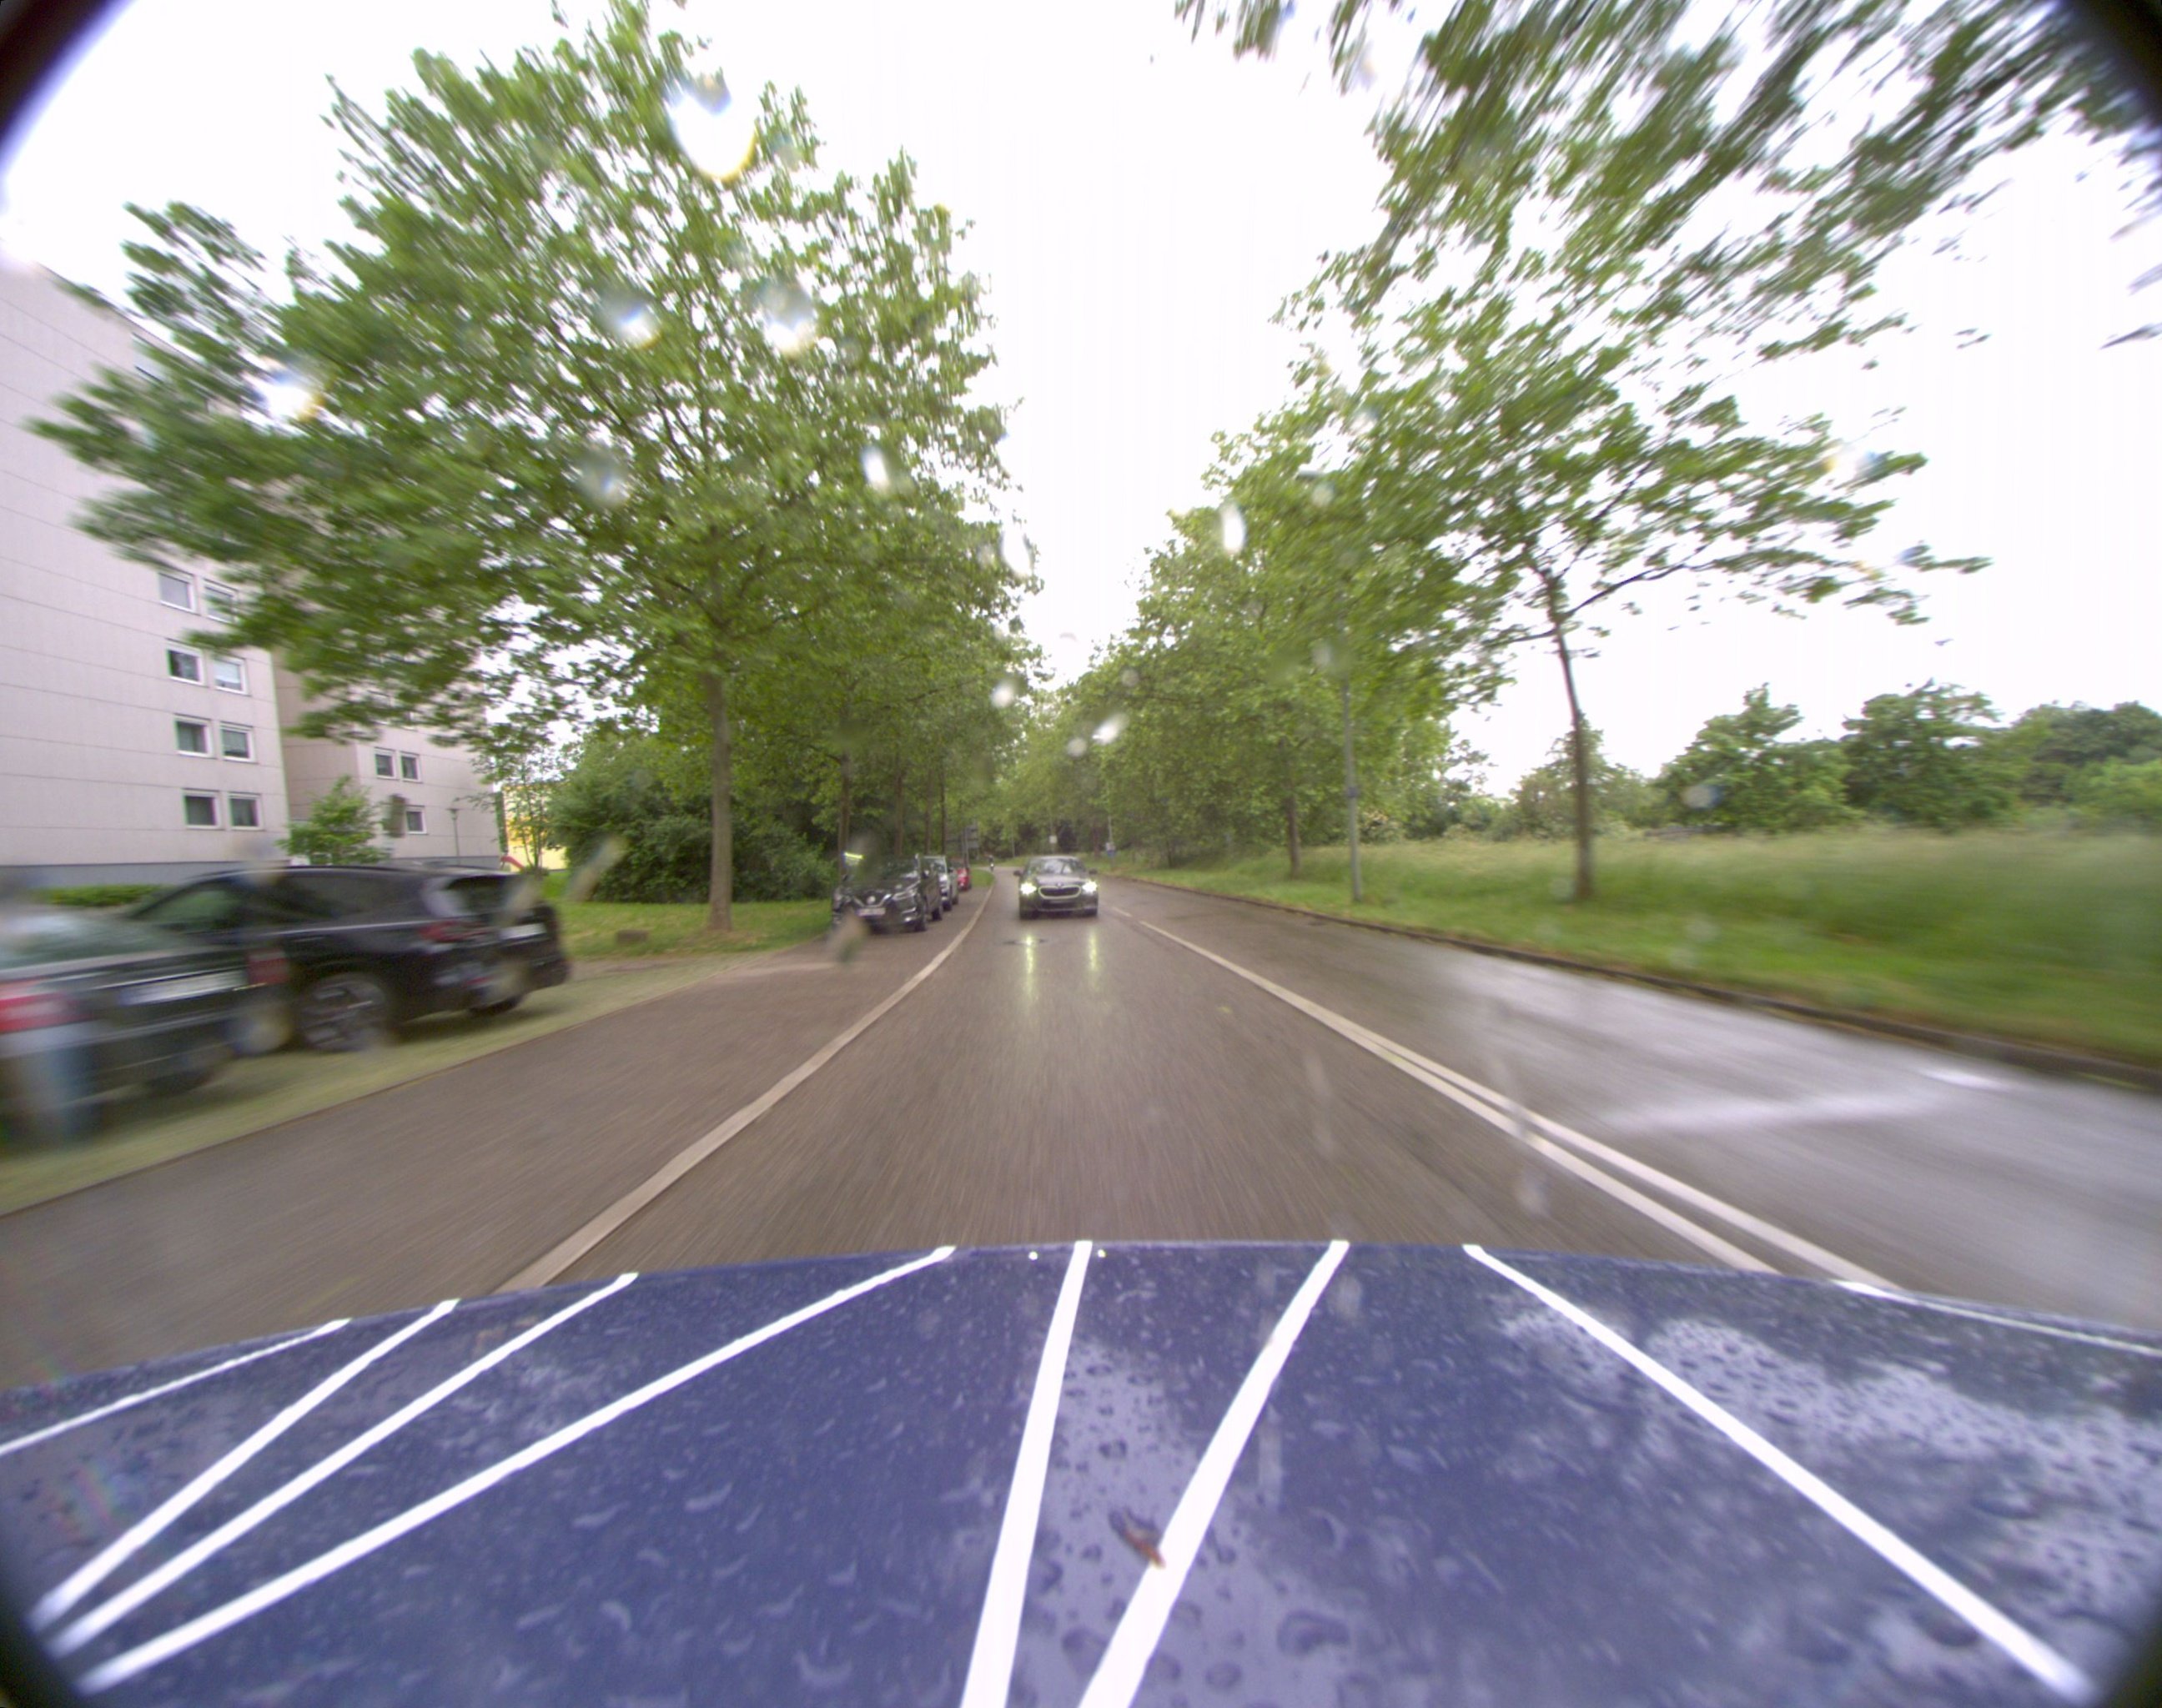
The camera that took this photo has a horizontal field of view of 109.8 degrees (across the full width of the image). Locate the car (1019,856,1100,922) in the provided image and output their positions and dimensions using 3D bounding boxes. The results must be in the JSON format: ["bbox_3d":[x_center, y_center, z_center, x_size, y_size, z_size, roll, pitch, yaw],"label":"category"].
[{"bbox_3d":[-0.676,0.819,19.776,1.844,1.486,4.900,-1,0,-4],"label":"car"}]

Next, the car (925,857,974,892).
[{"bbox_3d":[-5.776,0.855,33.760,1.802,1.364,3.742,-2,1,-5],"label":"car"}]

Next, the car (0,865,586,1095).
[{"bbox_3d":[-7.603,1.077,7.220,4.483,1.670,1.767,-3,0,-3],"label":"car"}]

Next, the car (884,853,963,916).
[{"bbox_3d":[-4.547,0.816,22.473,1.733,1.582,4.250,-2,1,-5],"label":"car"}]

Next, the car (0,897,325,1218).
[{"bbox_3d":[-7.556,1.192,4.536,4.117,1.470,1.720,-3,2,-3],"label":"car"}]

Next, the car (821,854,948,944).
[{"bbox_3d":[-4.087,0.848,16.527,1.806,1.593,4.369,-2,1,-4],"label":"car"}]

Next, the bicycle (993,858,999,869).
[{"bbox_3d":[-9.054,0.967,80.881,0.454,1.128,1.831,-5,1,-11],"label":"bicycle"}]

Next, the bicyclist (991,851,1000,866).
[{"bbox_3d":[-9.108,0.465,80.847,0.698,1.489,0.799,-5,2,-11],"label":"bicyclist"}]
